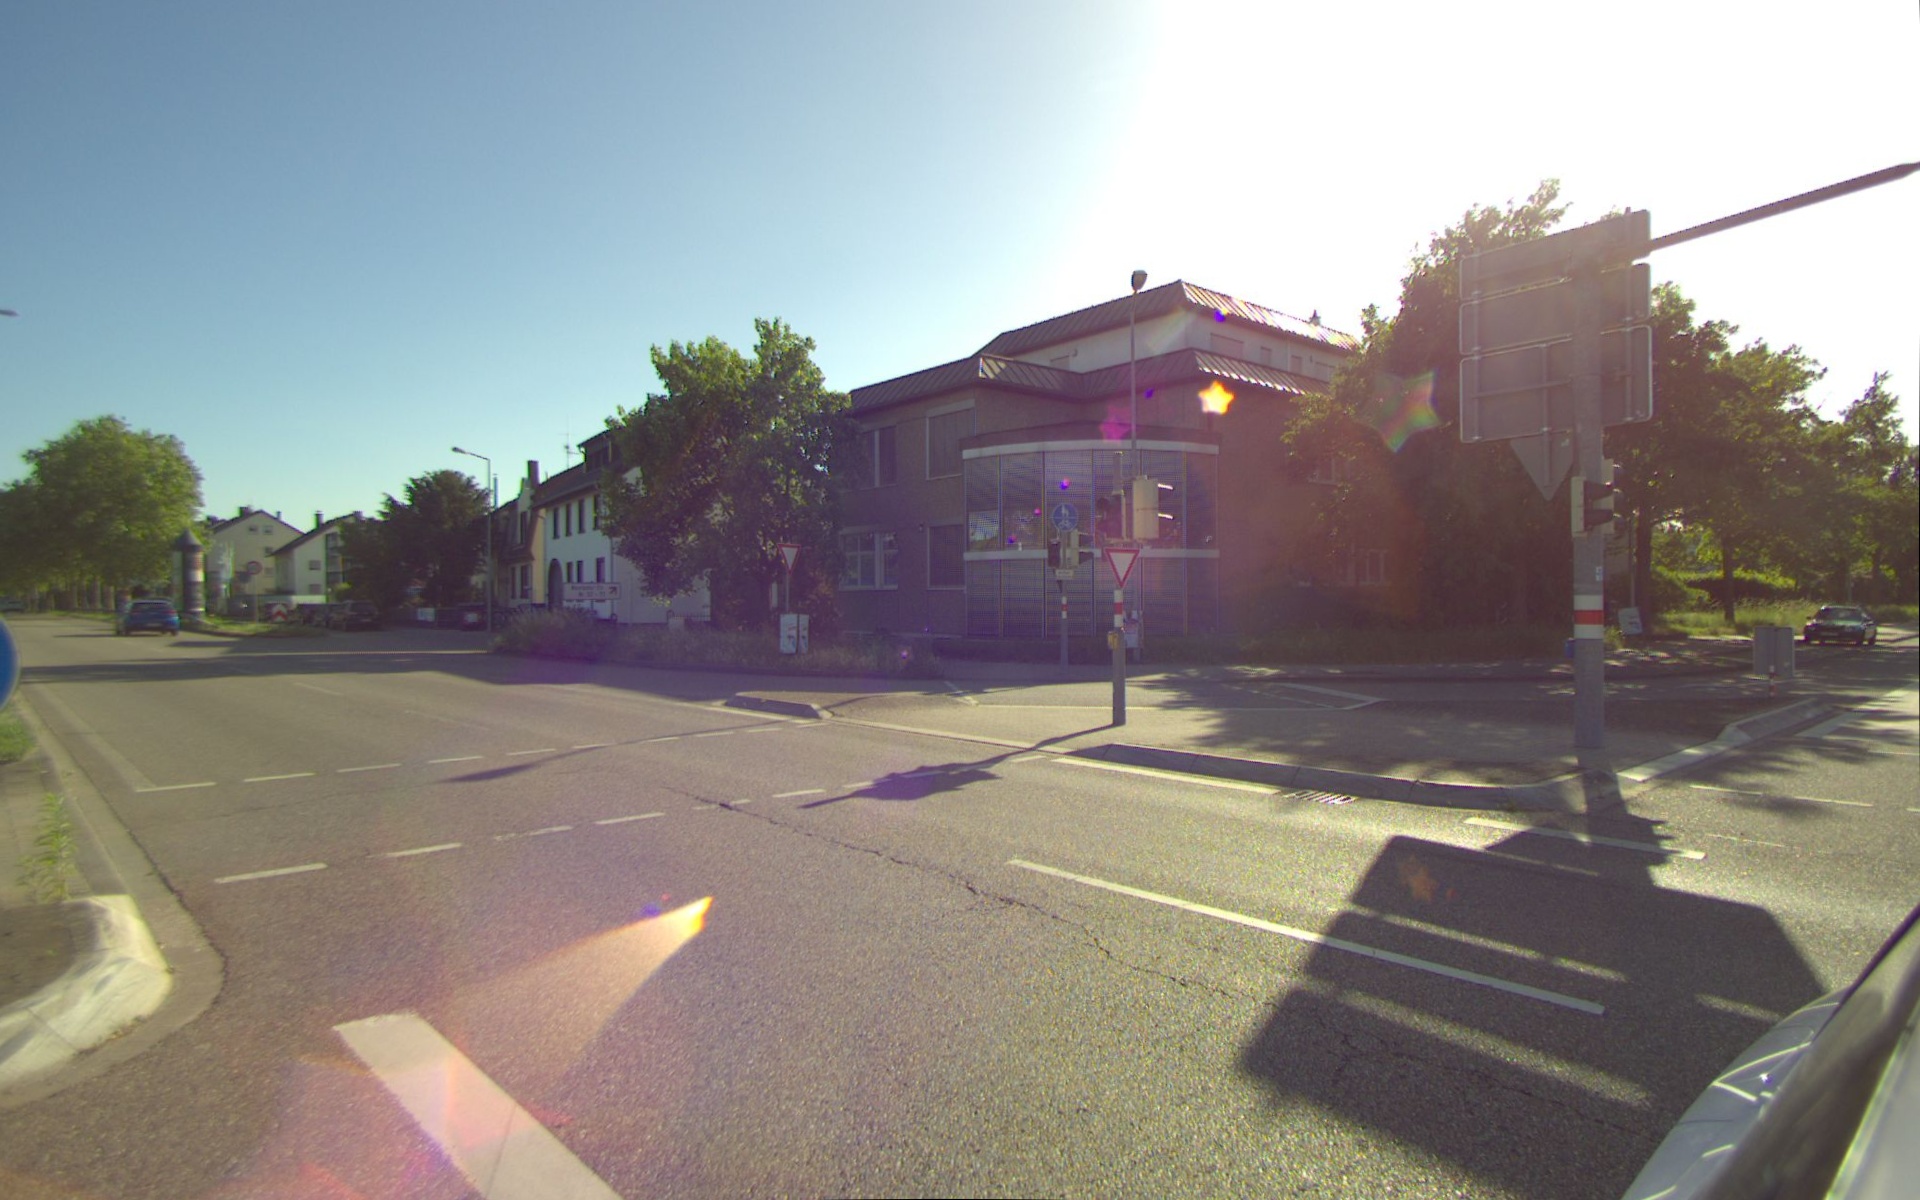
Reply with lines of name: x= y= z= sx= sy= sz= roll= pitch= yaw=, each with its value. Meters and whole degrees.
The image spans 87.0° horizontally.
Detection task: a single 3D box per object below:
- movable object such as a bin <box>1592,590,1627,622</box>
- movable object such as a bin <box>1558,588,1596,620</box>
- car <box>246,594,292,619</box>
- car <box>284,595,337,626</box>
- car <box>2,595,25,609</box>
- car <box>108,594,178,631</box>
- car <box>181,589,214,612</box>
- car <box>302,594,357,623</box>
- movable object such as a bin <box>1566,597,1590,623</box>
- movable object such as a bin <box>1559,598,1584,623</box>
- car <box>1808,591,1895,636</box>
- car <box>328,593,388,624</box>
movable object such as a bin: x=28.009 y=0.243 z=43.623 sx=0.782 sy=1.338 sz=1.089 roll=-1 pitch=0 yaw=-40
movable object such as a bin: x=27.184 y=0.165 z=44.597 sx=0.782 sy=1.358 sz=1.207 roll=-1 pitch=0 yaw=-40
car: x=-47.718 y=0.484 z=69.877 sx=1.968 sy=1.612 sz=3.988 roll=-1 pitch=-1 yaw=-45
car: x=-40.465 y=0.648 z=63.039 sx=1.968 sy=1.841 sz=3.988 roll=0 pitch=-1 yaw=-45
car: x=-111.296 y=0.254 z=119.002 sx=1.829 sy=1.611 sz=3.989 roll=-1 pitch=1 yaw=-45
car: x=-33.560 y=0.476 z=41.539 sx=3.779 sy=1.459 sz=1.710 roll=1 pitch=0 yaw=43
car: x=-68.970 y=0.026 z=91.532 sx=3.985 sy=1.981 sz=1.769 roll=-2 pitch=-1 yaw=43
car: x=-37.286 y=0.518 z=59.824 sx=1.968 sy=1.616 sz=3.988 roll=-1 pitch=-1 yaw=-45
movable object such as a bin: x=26.176 y=0.414 z=42.881 sx=0.683 sy=1.055 sz=0.687 roll=-1 pitch=0 yaw=-40
movable object such as a bin: x=25.630 y=0.438 z=42.431 sx=0.683 sy=1.055 sz=0.687 roll=0 pitch=-1 yaw=-40
car: x=32.595 y=0.446 z=36.957 sx=4.140 sy=1.504 sz=1.776 roll=-1 pitch=2 yaw=-40
car: x=-33.455 y=0.442 z=56.173 sx=1.968 sy=1.638 sz=3.989 roll=-1 pitch=1 yaw=-45
